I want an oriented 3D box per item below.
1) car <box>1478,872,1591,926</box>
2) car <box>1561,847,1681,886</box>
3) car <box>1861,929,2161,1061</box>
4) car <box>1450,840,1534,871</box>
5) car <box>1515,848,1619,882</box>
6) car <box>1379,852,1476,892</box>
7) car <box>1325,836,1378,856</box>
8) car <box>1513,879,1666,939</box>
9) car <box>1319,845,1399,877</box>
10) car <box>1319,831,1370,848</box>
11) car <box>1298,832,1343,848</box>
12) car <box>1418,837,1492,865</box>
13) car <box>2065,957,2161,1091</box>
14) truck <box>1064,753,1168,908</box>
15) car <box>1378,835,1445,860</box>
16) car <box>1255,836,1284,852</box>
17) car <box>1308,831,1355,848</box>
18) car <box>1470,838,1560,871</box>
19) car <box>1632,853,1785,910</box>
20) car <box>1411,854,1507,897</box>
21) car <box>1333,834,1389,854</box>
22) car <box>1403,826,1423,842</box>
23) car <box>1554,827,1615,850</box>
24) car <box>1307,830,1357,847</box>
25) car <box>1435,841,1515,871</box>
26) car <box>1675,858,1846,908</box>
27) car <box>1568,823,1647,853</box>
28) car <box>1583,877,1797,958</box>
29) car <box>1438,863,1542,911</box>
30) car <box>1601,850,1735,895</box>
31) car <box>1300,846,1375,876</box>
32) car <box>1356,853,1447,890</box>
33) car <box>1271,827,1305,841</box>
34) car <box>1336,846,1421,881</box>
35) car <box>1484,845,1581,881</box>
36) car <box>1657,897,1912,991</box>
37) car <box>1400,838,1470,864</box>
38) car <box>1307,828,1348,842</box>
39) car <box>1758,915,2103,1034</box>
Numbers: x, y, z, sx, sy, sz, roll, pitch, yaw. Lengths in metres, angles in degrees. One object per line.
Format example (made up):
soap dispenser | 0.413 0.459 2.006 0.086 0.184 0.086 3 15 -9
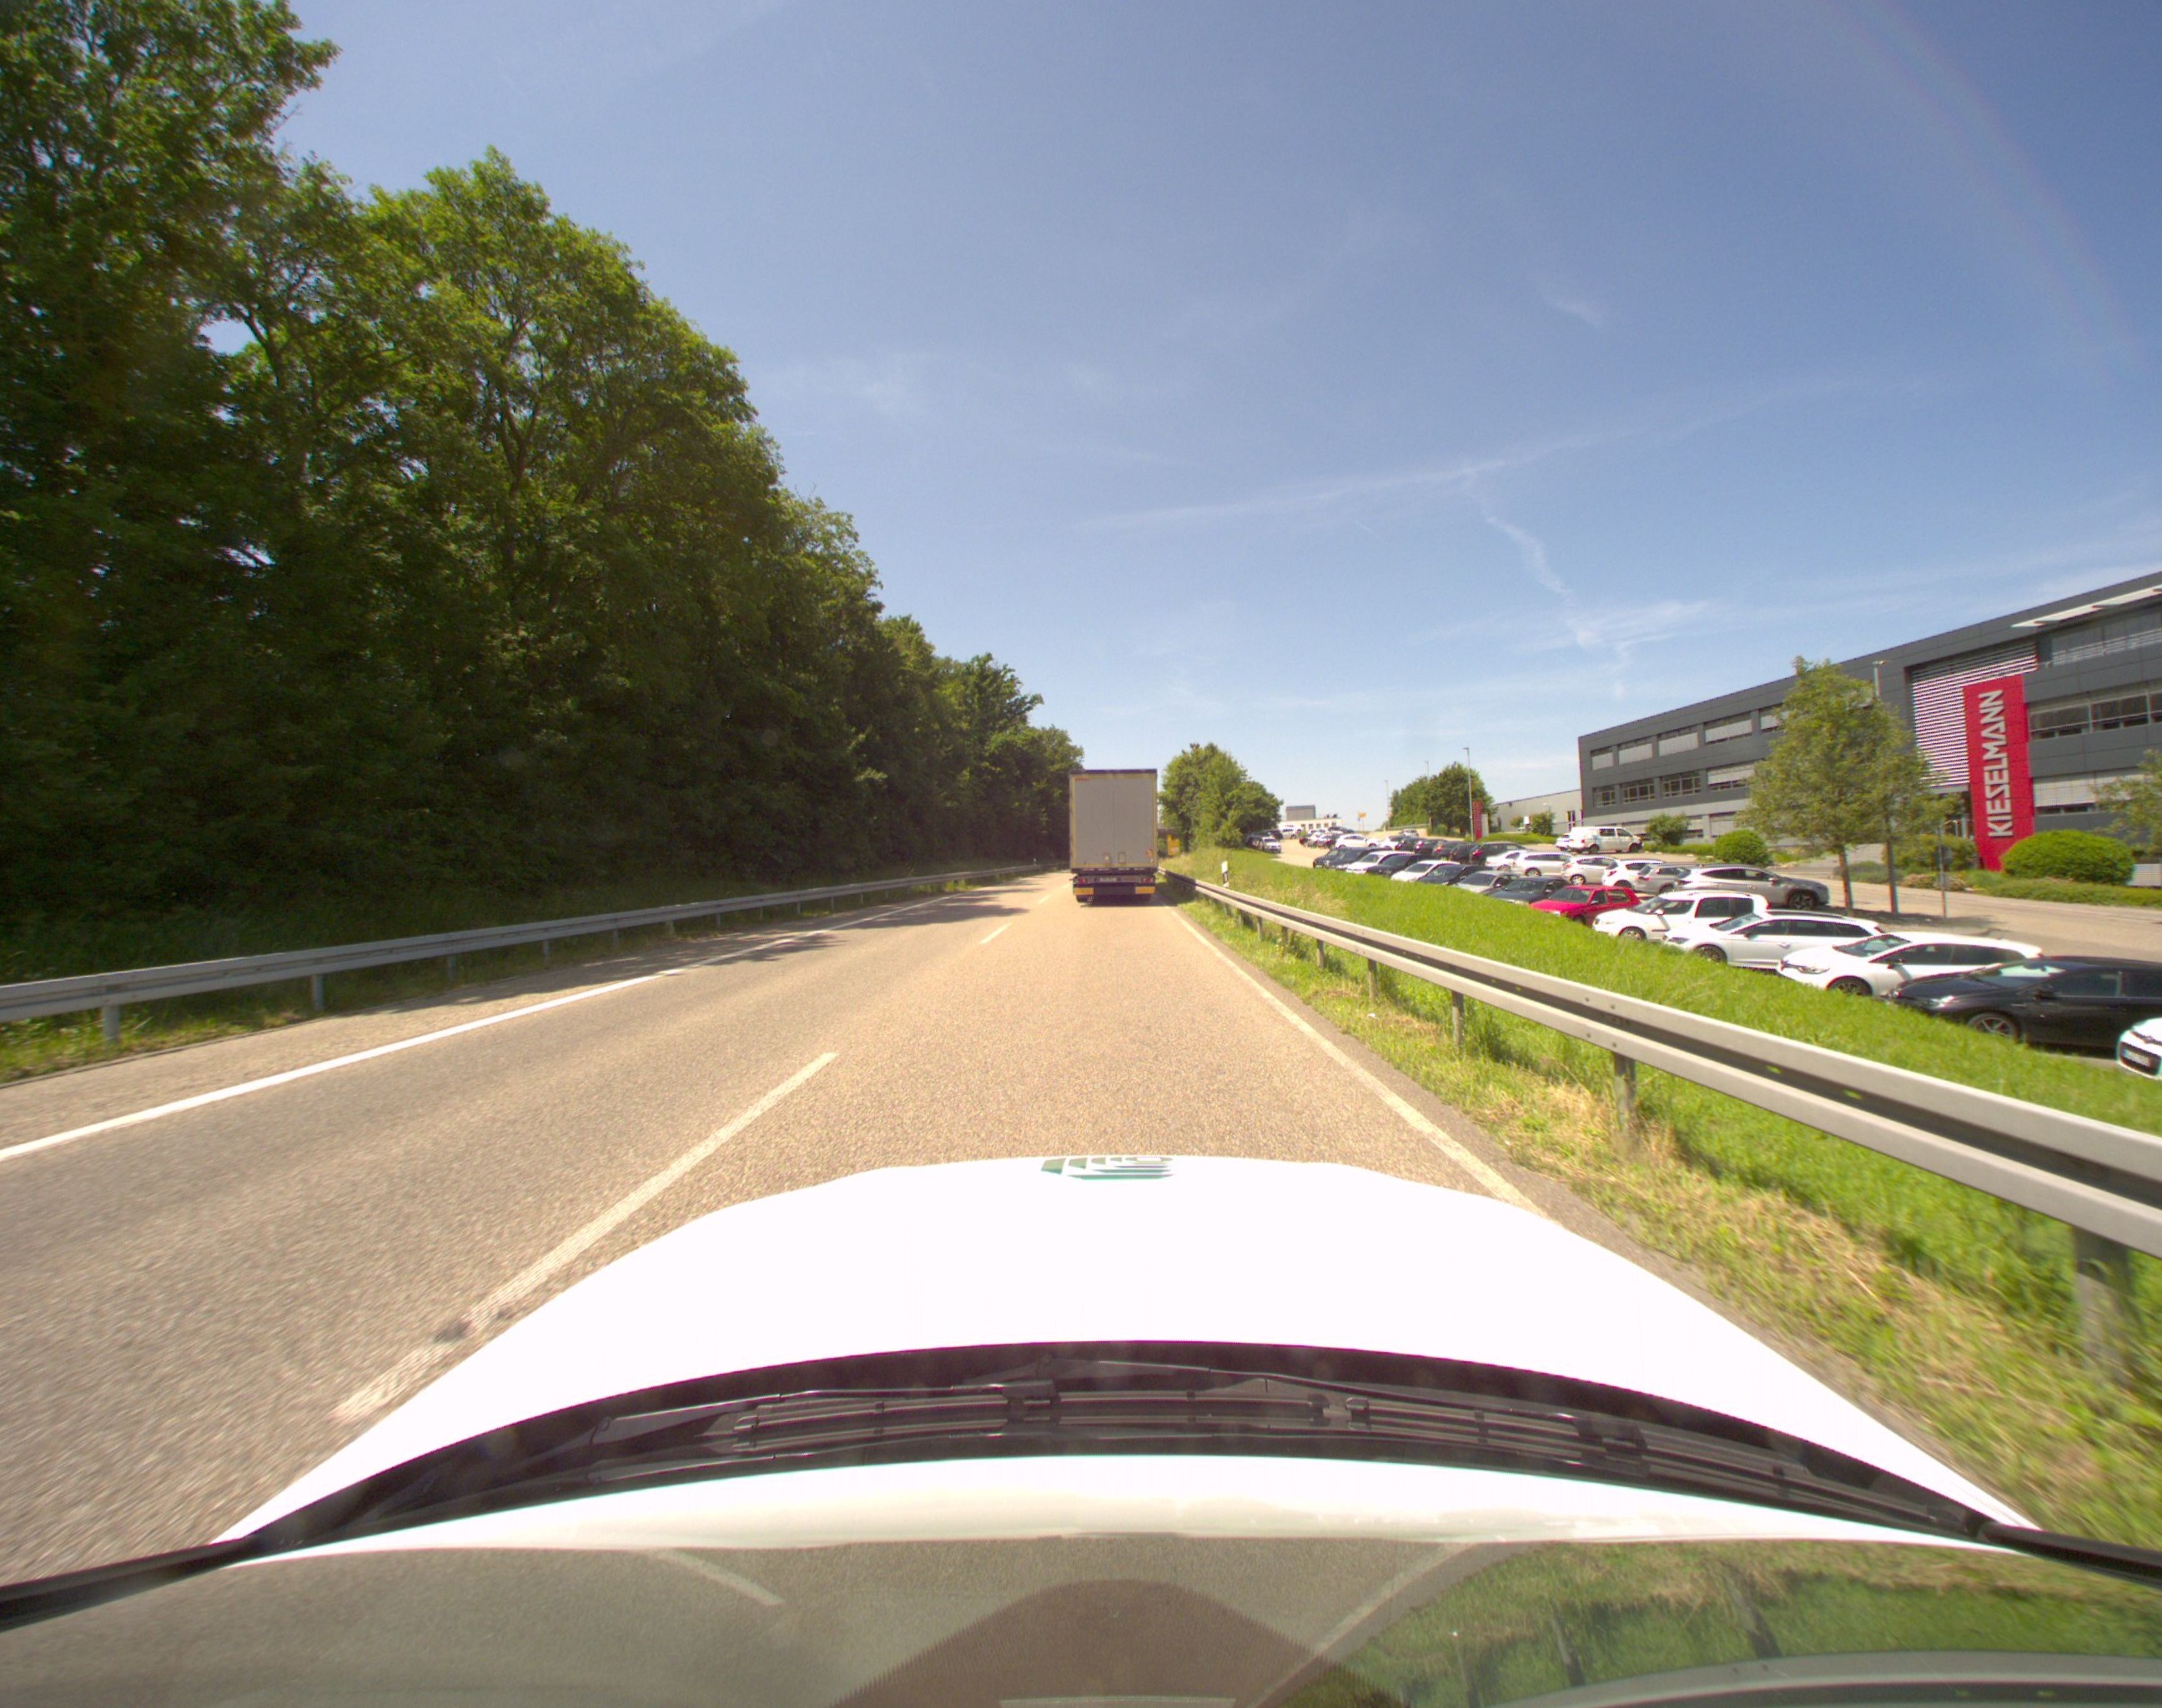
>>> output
car | 16.675 1.592 29.896 4.396 1.685 1.868 1 3 -36
car | 25.575 0.600 38.761 4.529 1.477 1.832 -3 3 26
car | 16.402 2.348 13.666 4.324 1.559 1.899 4 2 25
car | 25.585 0.051 50.733 4.530 1.628 1.832 4 2 28
car | 25.104 0.550 42.138 4.528 1.519 1.833 0 5 32
car | 16.694 0.870 39.208 4.386 1.685 1.872 2 2 -27
car | 24.995 -0.754 75.250 4.532 1.628 1.830 2 2 22
car | 16.535 1.782 26.490 4.378 1.685 1.876 2 2 -21
car | 16.356 0.409 47.954 4.386 1.685 1.872 2 2 -27
car | 25.349 -1.386 78.310 4.532 1.628 1.830 -1 1 22
car | 25.875 -1.517 87.923 4.532 1.629 1.830 1 0 22
car | 25.946 -0.225 56.531 4.530 1.628 1.832 4 2 28
car | 16.780 2.512 10.783 4.324 1.559 1.873 4 2 25
truck | 1.177 -0.678 28.026 2.855 4.359 9.794 -1 0 2
car | 25.613 -0.508 63.097 4.530 1.628 1.832 4 2 28
car | 17.818 -0.938 77.076 1.620 1.353 3.708 3 2 -2
car | 25.993 -1.508 84.508 4.532 1.629 1.830 0 -1 22
car | 25.421 -0.005 47.834 4.530 1.628 1.832 4 2 28
car | 25.261 1.056 32.999 4.530 1.627 1.833 4 11 26
car | 16.690 0.929 35.887 4.396 1.685 1.868 1 3 -36
car | 24.937 -0.901 72.554 4.532 1.628 1.830 1 1 22
car | 35.171 -2.111 86.215 1.790 1.662 4.022 0 0 24
car | 38.757 -1.189 62.705 3.648 1.588 1.685 -2 2 1
car | 25.125 -1.575 81.556 4.532 1.628 1.830 2 2 22
car | 25.920 0.084 53.605 4.530 1.628 1.832 4 2 28
car | 24.862 1.028 30.036 4.529 1.628 1.832 -1 4 26
car | 38.272 -1.186 59.255 4.554 1.949 1.822 -2 2 1
car | 16.848 1.698 22.845 4.407 1.685 1.898 4 2 23
car | 16.494 1.291 32.768 4.396 1.685 1.868 1 3 -36
car | 25.641 0.760 35.806 4.529 1.628 1.832 1 7 26
car | 16.124 0.445 51.161 4.386 1.685 1.872 2 2 -27
car | 16.555 0.924 42.011 4.386 1.685 1.872 2 2 -27
car | 29.161 -2.826 114.701 4.387 1.685 1.872 -2 4 -27
car | 16.583 0.531 45.357 4.386 1.685 1.872 2 2 -27
car | 25.124 0.471 45.473 4.530 1.628 1.832 4 2 28
car | 16.777 2.066 19.760 4.322 1.559 1.900 4 3 30
car | 25.969 -0.252 59.744 4.530 1.628 1.832 4 2 28
car | 30.623 -2.369 101.397 4.527 1.629 1.832 1 0 35
car | 16.660 2.297 16.340 4.324 1.559 1.899 4 2 25
